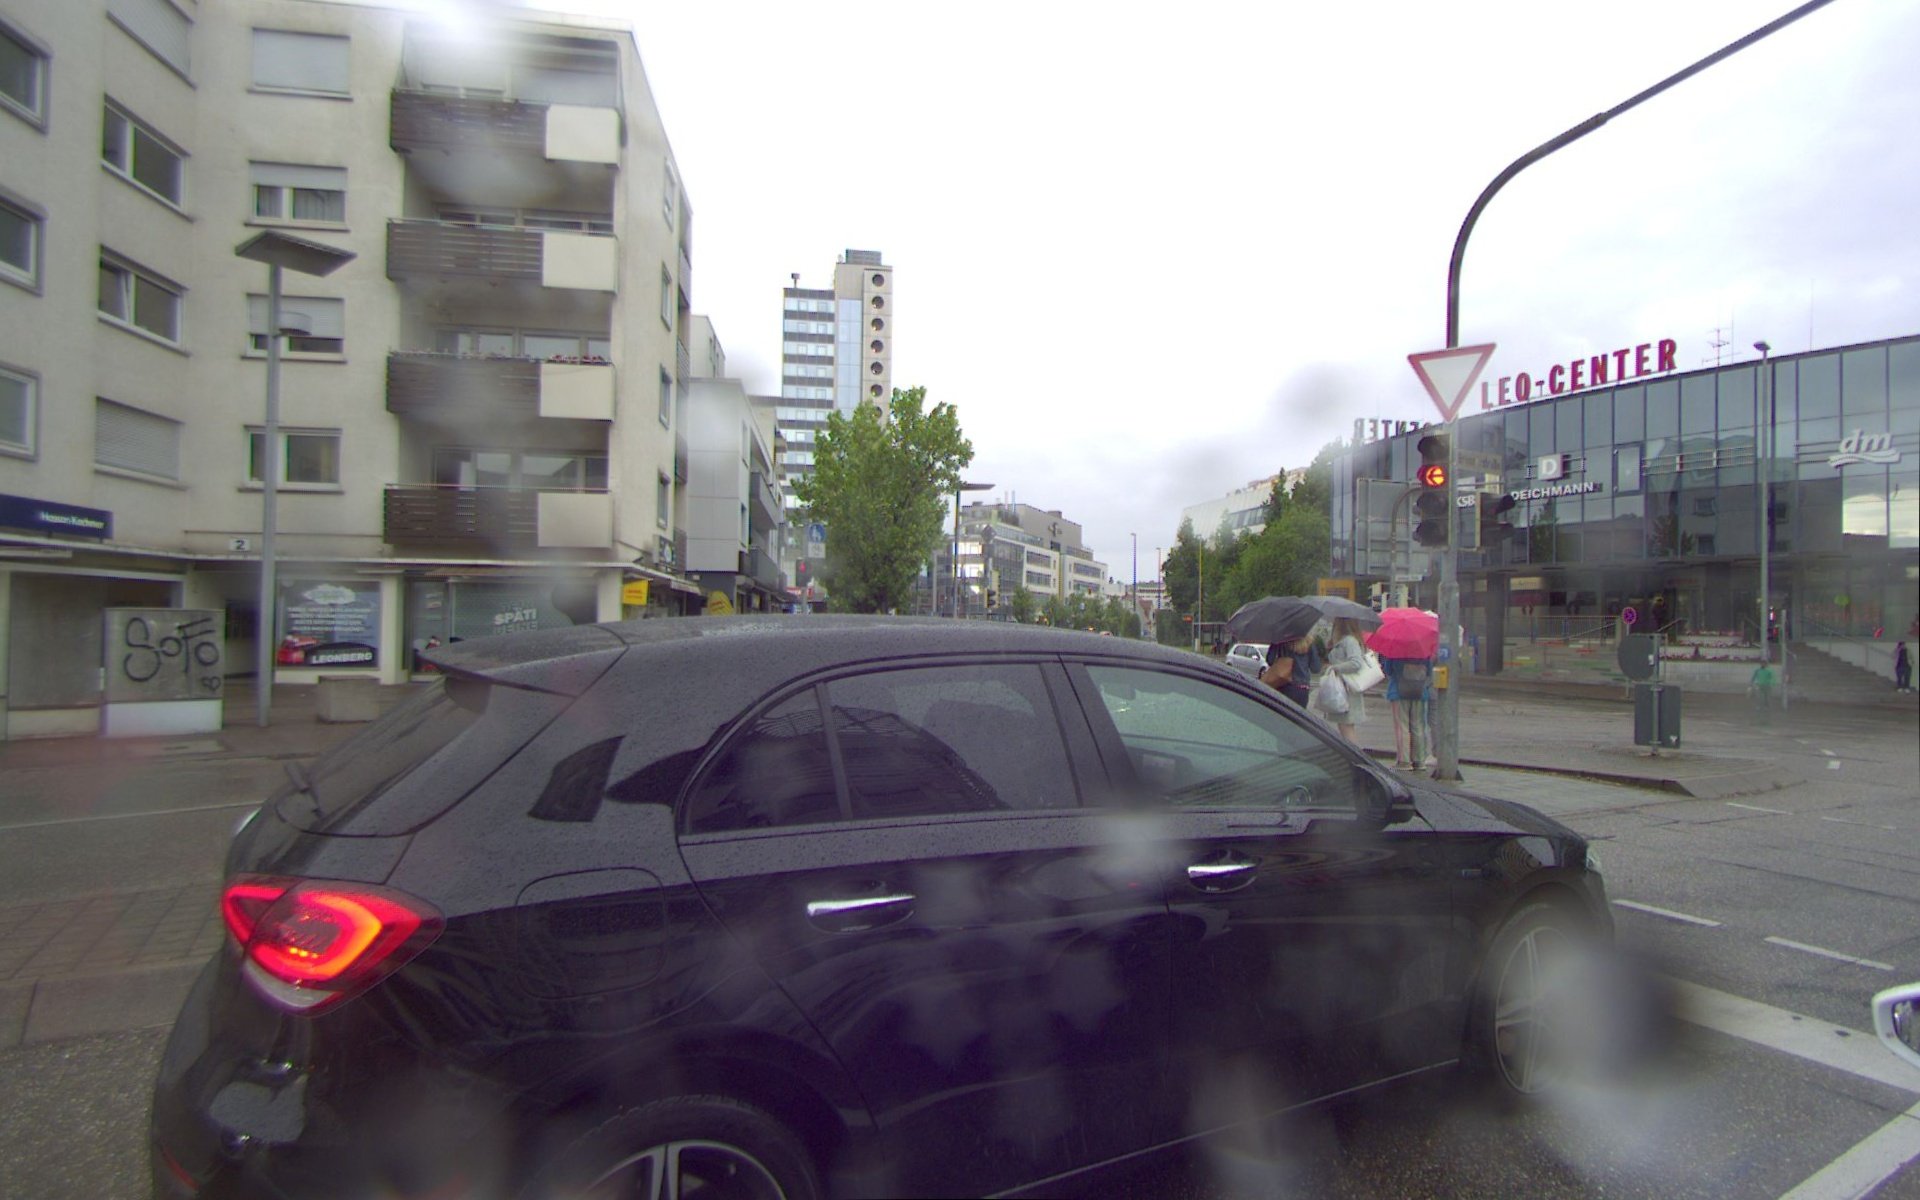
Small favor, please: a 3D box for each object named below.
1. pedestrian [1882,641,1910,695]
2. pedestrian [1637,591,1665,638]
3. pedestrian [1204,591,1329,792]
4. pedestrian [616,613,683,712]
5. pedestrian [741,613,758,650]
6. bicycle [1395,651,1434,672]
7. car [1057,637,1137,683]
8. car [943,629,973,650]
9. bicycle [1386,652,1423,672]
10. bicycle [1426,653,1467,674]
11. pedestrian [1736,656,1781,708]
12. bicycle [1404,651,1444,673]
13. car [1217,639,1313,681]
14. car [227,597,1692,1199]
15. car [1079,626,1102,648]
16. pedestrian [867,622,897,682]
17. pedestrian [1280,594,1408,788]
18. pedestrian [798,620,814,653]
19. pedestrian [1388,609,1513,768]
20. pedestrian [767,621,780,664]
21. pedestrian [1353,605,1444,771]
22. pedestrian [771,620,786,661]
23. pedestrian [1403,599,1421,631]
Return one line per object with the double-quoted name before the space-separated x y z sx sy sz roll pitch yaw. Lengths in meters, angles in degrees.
"pedestrian" 34.109 2.472 36.596 0.589 1.933 0.651 2 -1 -37
"pedestrian" 30.531 0.643 44.399 0.817 2.040 0.951 2 0 27
"pedestrian" 2.873 0.818 9.385 0.937 1.759 0.835 0 -2 30
"pedestrian" -5.205 1.040 16.818 0.904 1.606 0.651 2 -2 -33
"pedestrian" -11.899 1.775 56.863 0.859 2.040 0.923 1 -1 -10
"bicycle" 23.929 3.224 52.893 1.822 1.047 0.628 -1 -1 -12
"car" 4.782 2.064 35.693 2.082 1.432 5.147 2 -2 0
"car" -0.178 2.736 70.423 1.414 1.314 3.770 2 -1 -11
"bicycle" 23.700 3.287 53.559 1.821 0.964 0.535 -1 0 -8
"bicycle" 24.482 3.183 50.527 1.822 1.036 0.631 0 -2 -12
"pedestrian" 26.217 2.689 32.980 0.799 1.644 0.945 2 -2 -29
"bicycle" 24.082 3.220 52.150 1.822 1.056 0.646 -1 -1 -12
"car" 11.789 2.310 39.097 1.717 1.460 3.980 2 -1 -15
"car" 0.348 0.782 3.077 4.048 1.501 1.654 1 1 -32
"car" 12.488 3.540 96.205 2.008 1.921 4.141 1 -1 6
"pedestrian" -2.228 1.475 28.599 0.799 1.677 0.714 1 -2 -3
"pedestrian" 3.721 0.851 9.837 0.843 1.767 1.139 1 -2 3
"pedestrian" -8.809 2.059 57.303 0.859 1.835 0.923 1 -1 -10
"pedestrian" 5.555 0.968 11.389 0.906 1.699 0.931 2 -2 -30
"pedestrian" -7.609 1.720 40.985 0.441 1.746 0.499 1 -2 -12
"pedestrian" 4.716 0.929 10.849 0.790 1.707 0.674 1 -2 14
"pedestrian" -8.158 1.837 45.145 0.557 1.817 0.491 1 -2 -4
"pedestrian" 25.109 0.849 55.777 0.642 1.736 0.599 2 0 -6
